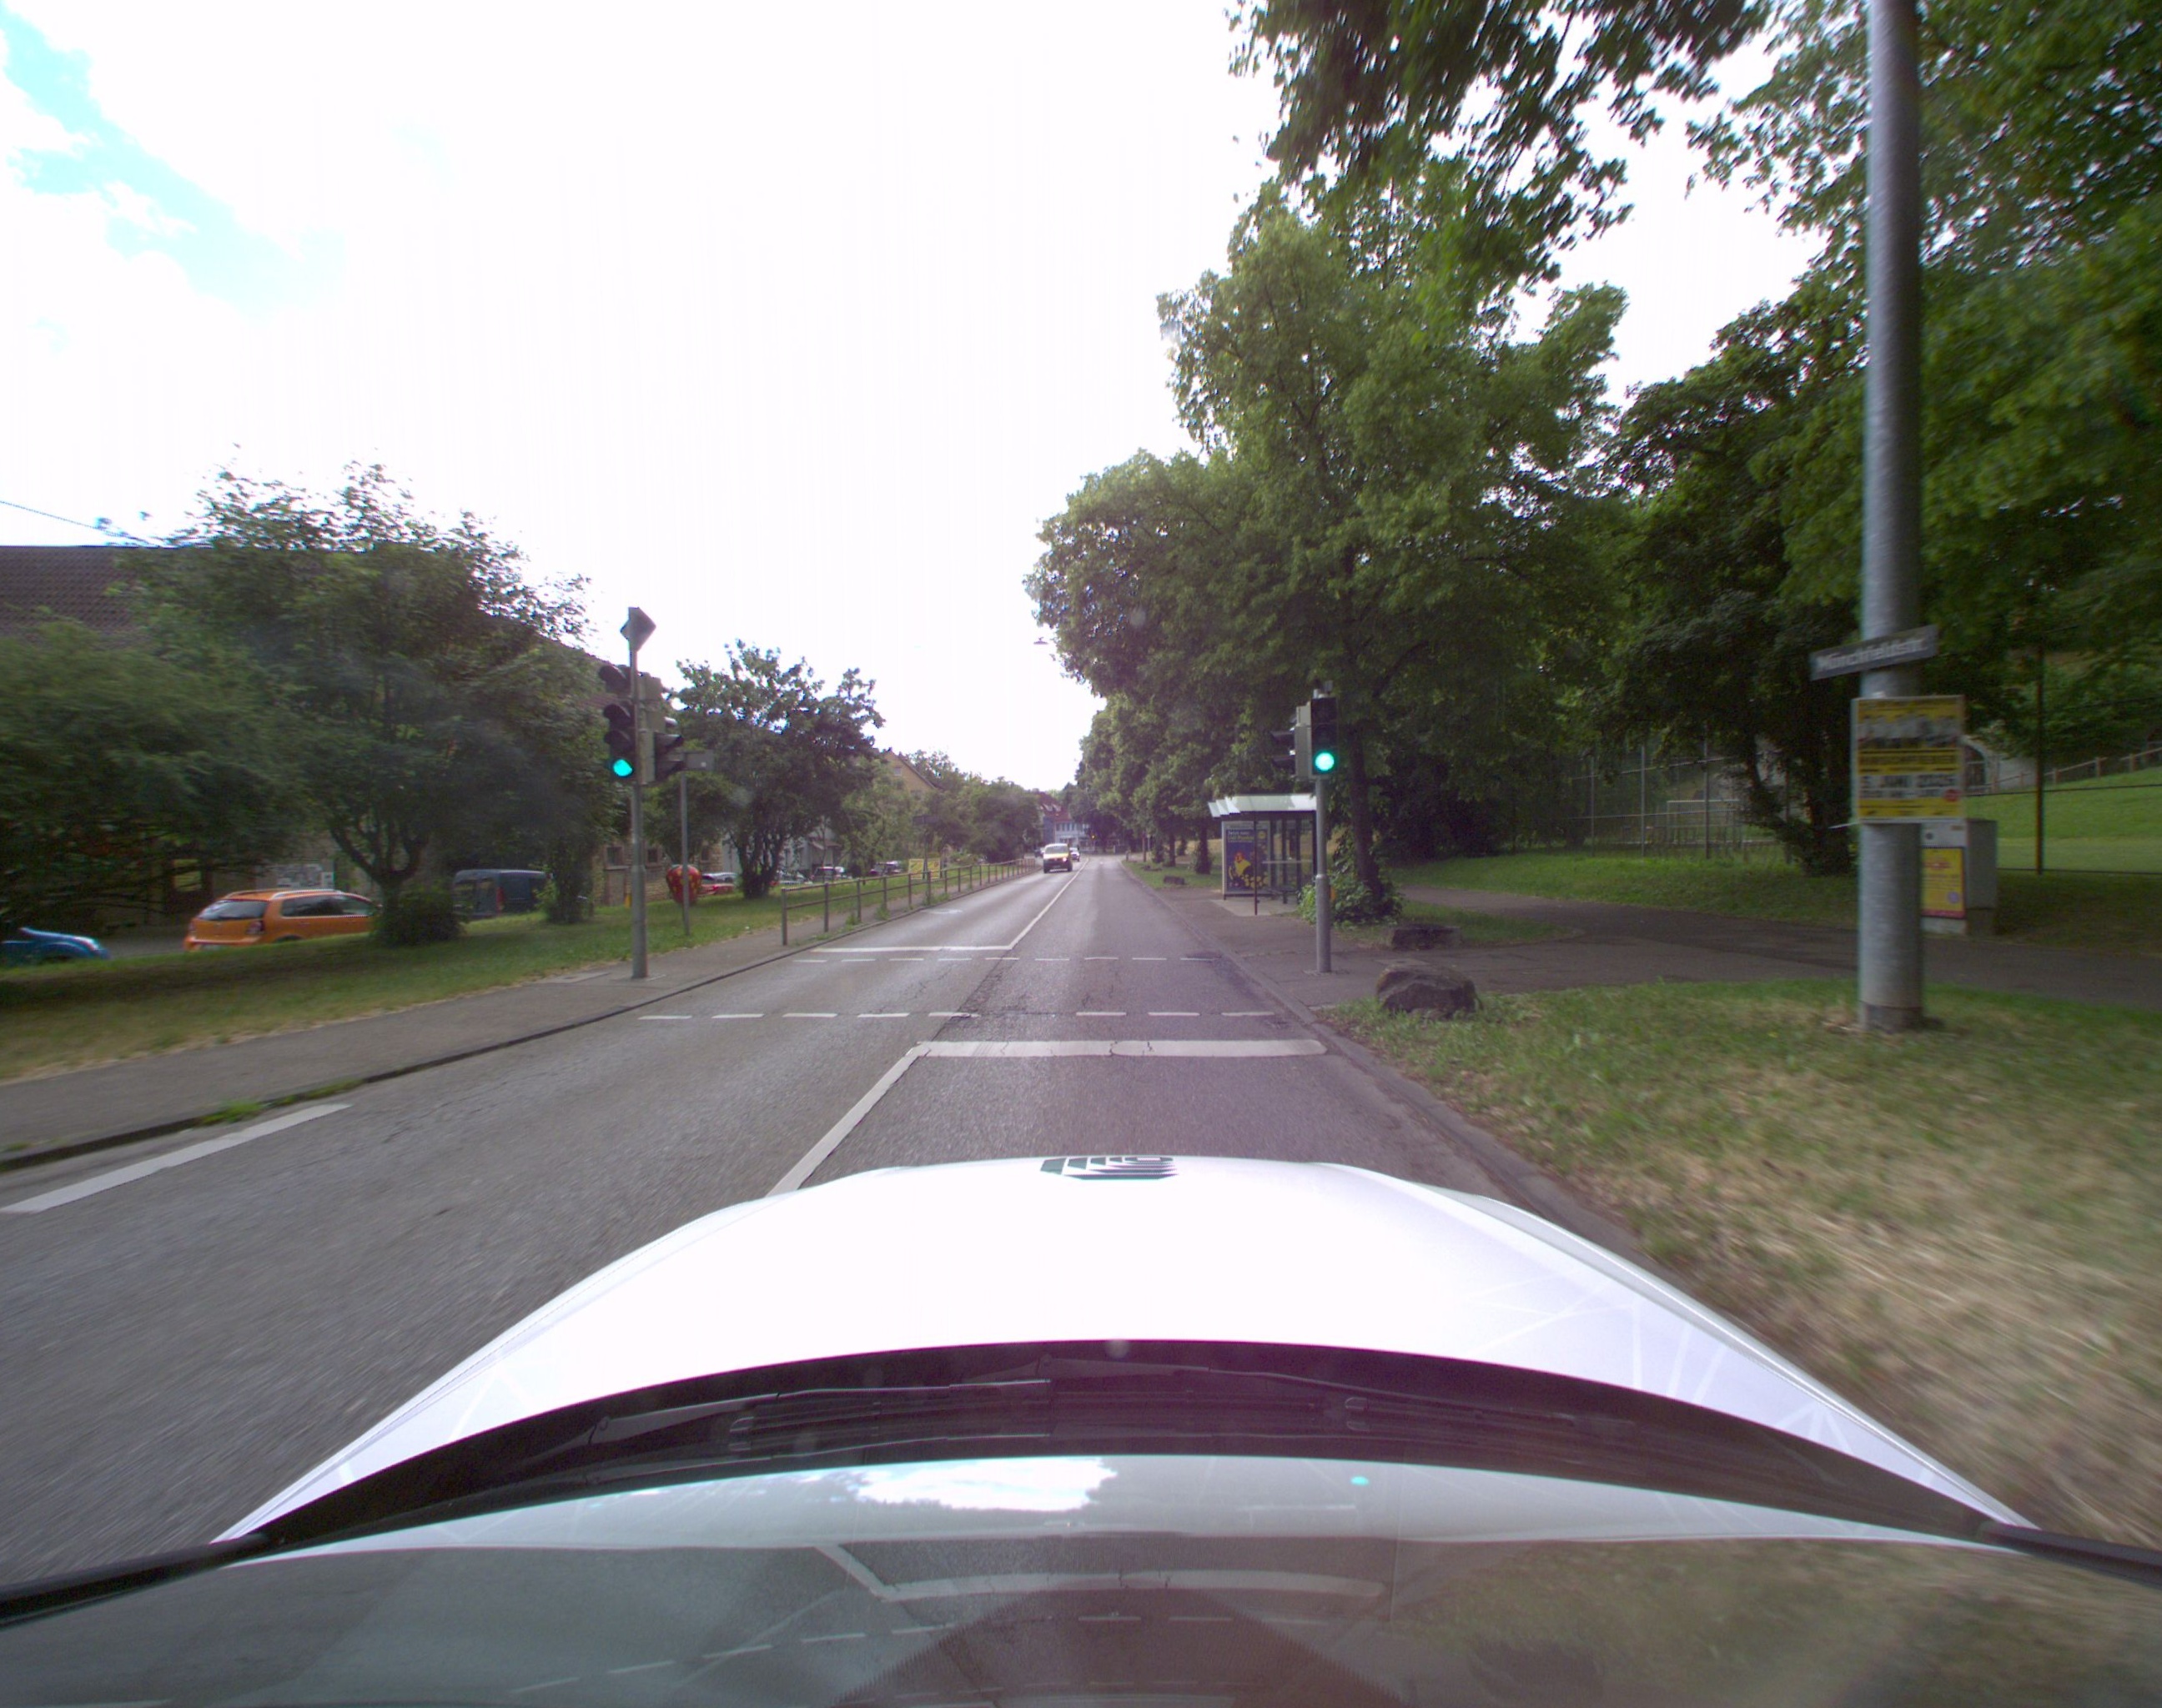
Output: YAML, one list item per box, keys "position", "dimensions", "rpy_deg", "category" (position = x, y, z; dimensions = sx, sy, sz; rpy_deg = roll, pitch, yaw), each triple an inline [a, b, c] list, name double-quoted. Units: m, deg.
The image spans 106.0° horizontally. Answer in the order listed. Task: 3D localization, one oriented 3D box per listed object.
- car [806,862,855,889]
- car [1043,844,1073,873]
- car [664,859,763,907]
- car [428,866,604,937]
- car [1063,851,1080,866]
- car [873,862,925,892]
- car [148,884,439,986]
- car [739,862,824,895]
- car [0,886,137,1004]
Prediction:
- position: [-13.372, 1.114, 43.556]
  dimensions: [1.544, 1.278, 2.559]
  rpy_deg: [-2, 0, 7]
  category: "car"
- position: [-1.604, 0.284, 57.450]
  dimensions: [1.839, 1.930, 4.770]
  rpy_deg: [-1, 0, 1]
  category: "car"
- position: [-14.368, 1.093, 32.109]
  dimensions: [1.803, 1.618, 4.005]
  rpy_deg: [-3, 0, 4]
  category: "car"
- position: [-15.436, 1.227, 22.554]
  dimensions: [1.803, 1.618, 4.005]
  rpy_deg: [-3, 0, 4]
  category: "car"
- position: [-1.089, 0.502, 92.031]
  dimensions: [1.698, 1.511, 4.002]
  rpy_deg: [-3, 0, 2]
  category: "car"
- position: [-11.621, 1.456, 52.234]
  dimensions: [1.910, 1.695, 4.008]
  rpy_deg: [-2, 0, 7]
  category: "car"
- position: [-16.052, 1.559, 16.956]
  dimensions: [1.939, 1.618, 4.005]
  rpy_deg: [-3, 0, 4]
  category: "car"
- position: [-13.701, 1.106, 37.491]
  dimensions: [1.983, 1.277, 4.008]
  rpy_deg: [-2, 0, 7]
  category: "car"
- position: [-16.569, 1.396, 11.107]
  dimensions: [1.985, 1.618, 4.452]
  rpy_deg: [-3, 0, 3]
  category: "car"
